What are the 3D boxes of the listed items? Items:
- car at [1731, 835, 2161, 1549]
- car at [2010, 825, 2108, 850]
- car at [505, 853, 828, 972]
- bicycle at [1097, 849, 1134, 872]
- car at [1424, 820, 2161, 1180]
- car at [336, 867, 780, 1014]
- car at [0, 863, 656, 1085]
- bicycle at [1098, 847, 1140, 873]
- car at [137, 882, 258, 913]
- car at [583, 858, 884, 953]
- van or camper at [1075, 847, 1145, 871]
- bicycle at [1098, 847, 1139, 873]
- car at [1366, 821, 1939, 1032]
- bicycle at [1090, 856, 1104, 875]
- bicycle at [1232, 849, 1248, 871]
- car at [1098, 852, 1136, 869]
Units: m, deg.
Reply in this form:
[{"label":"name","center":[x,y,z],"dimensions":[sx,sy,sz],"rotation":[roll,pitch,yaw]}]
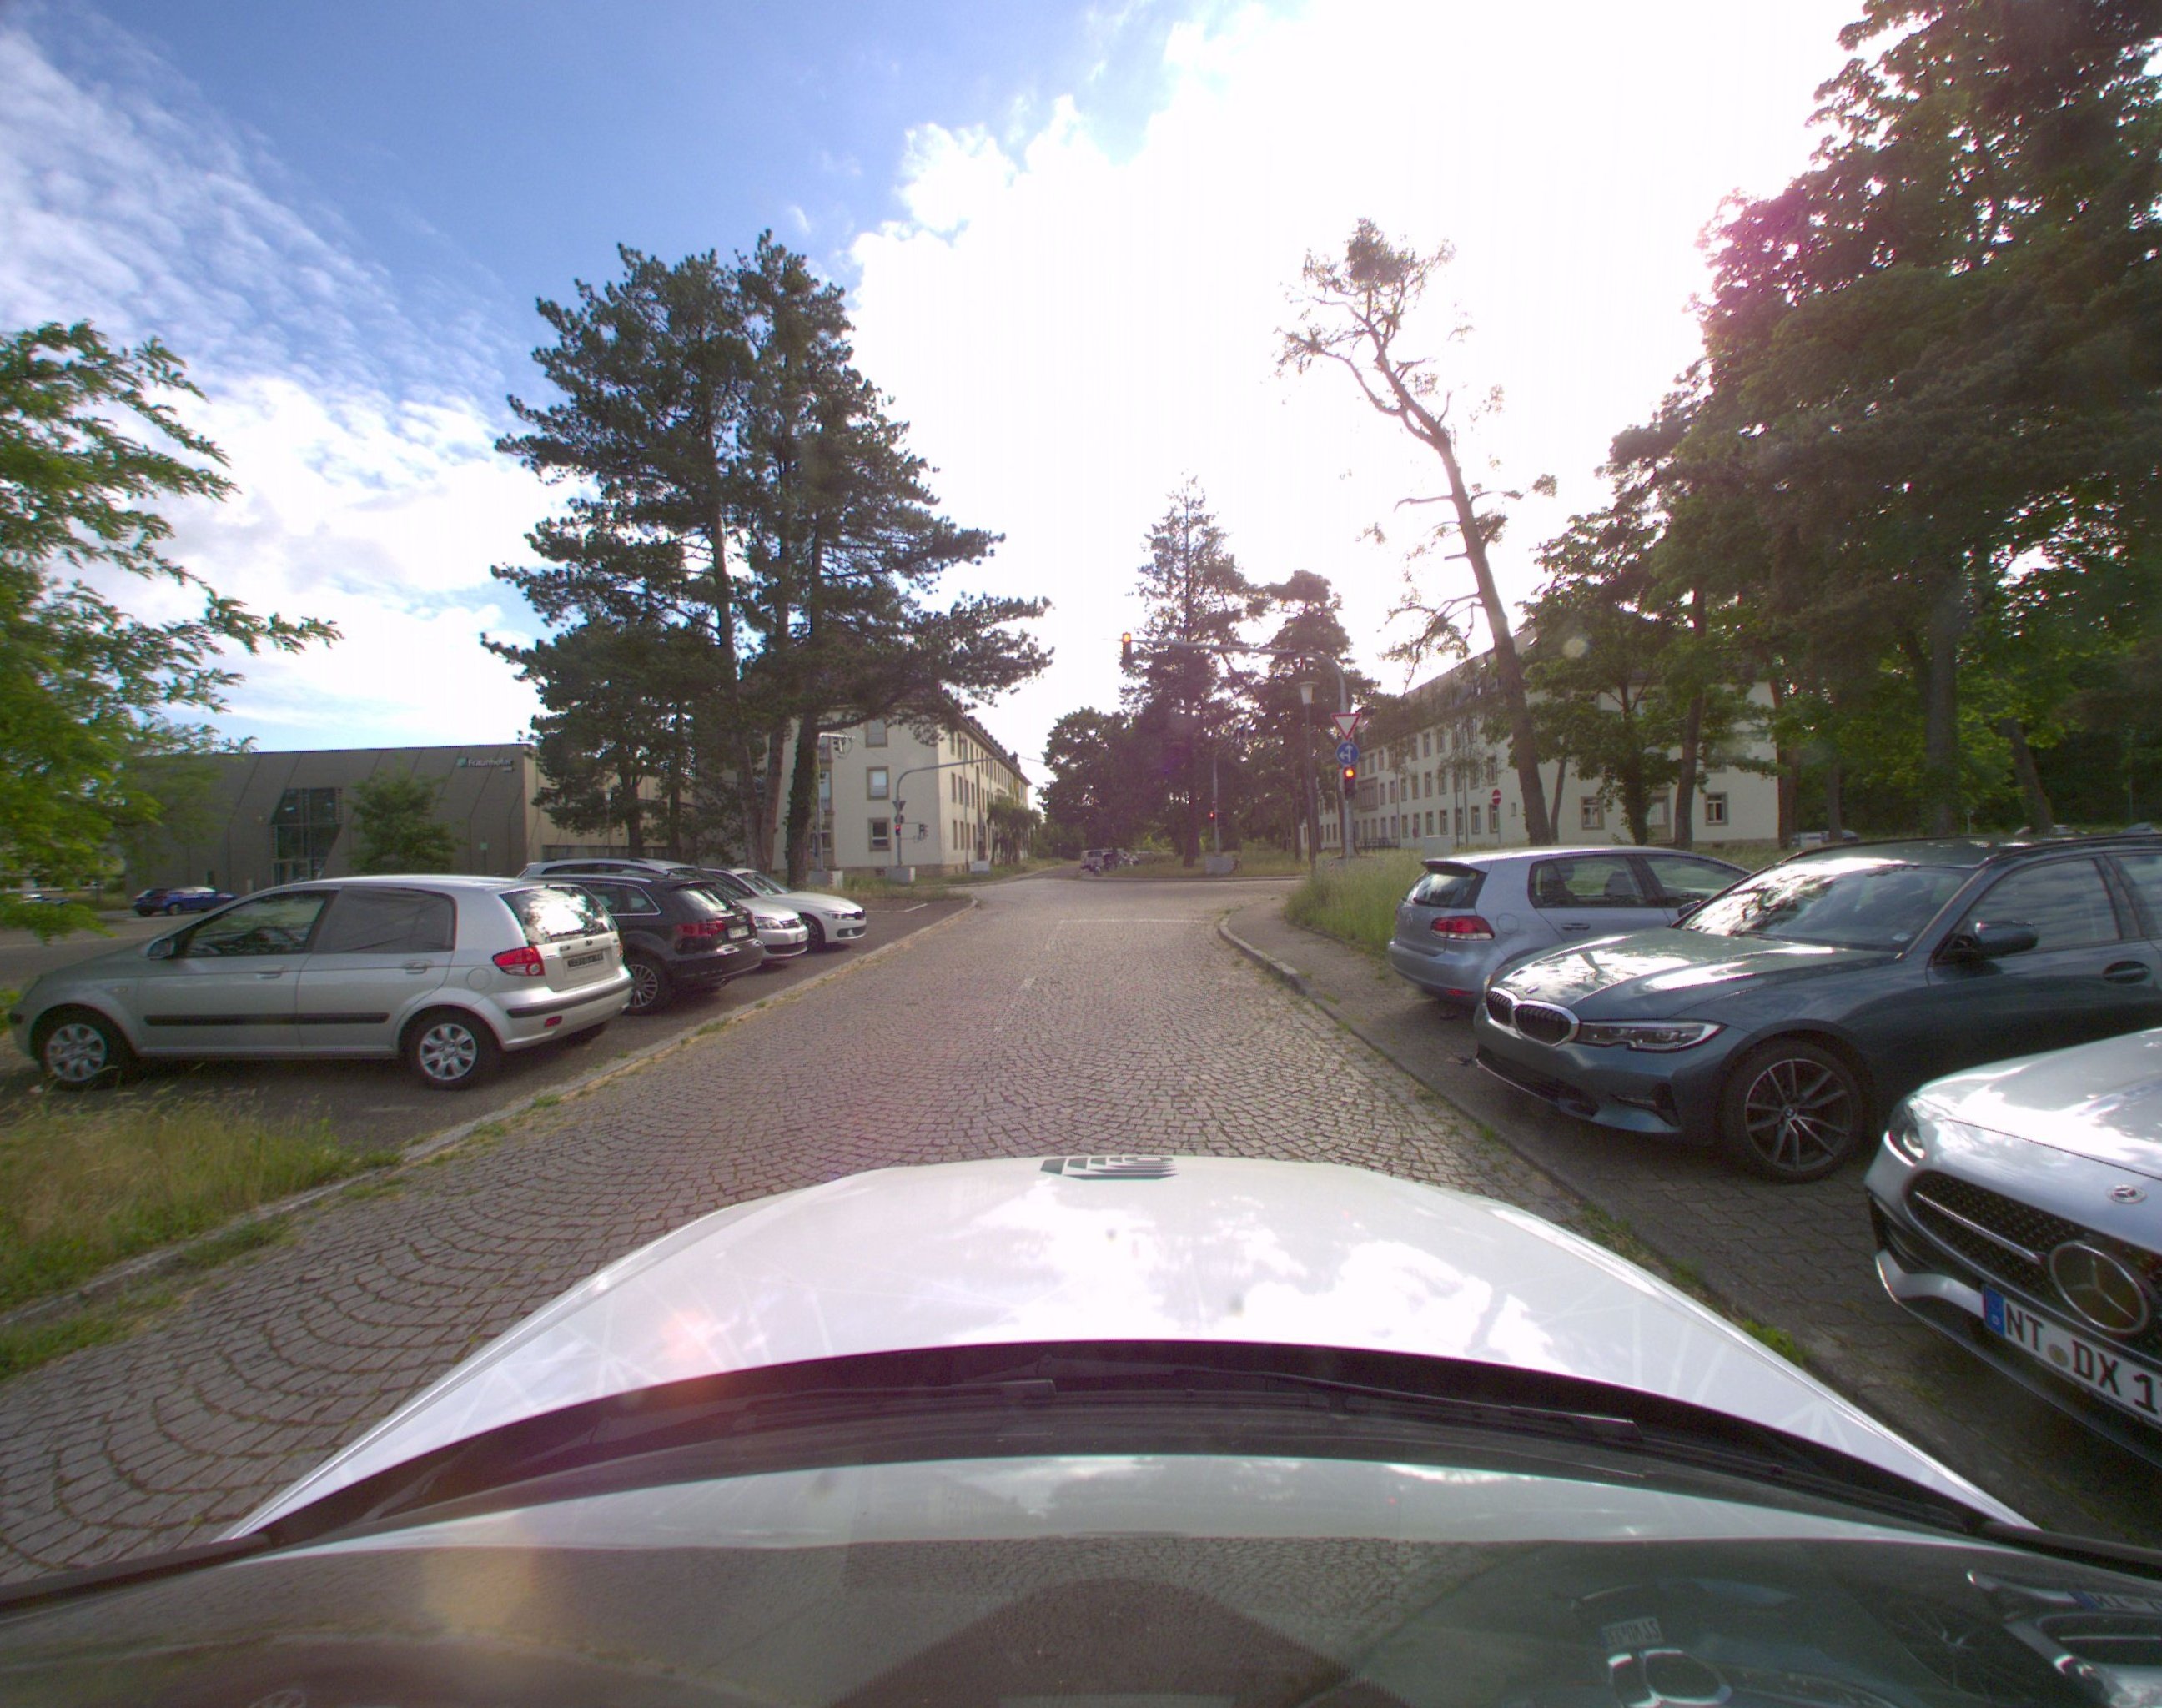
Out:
[{"label":"car","center":[4.350,0.620,1.851],"dimensions":[4.311,1.428,1.767],"rotation":[-3,0,0]},{"label":"car","center":[58.479,-0.973,48.736],"dimensions":[3.972,1.398,1.564],"rotation":[0,0,1]},{"label":"car","center":[-5.924,0.805,11.993],"dimensions":[3.820,1.607,1.734],"rotation":[0,0,-2]},{"label":"bicycle","center":[2.640,0.514,62.352],"dimensions":[2.764,1.694,1.121],"rotation":[0,0,2]},{"label":"car","center":[4.545,0.607,4.532],"dimensions":[4.500,1.483,1.807],"rotation":[-2,0,-2]},{"label":"car","center":[-5.604,0.884,9.086],"dimensions":[3.823,1.408,1.695],"rotation":[1,0,0]},{"label":"car","center":[-5.601,0.842,6.431],"dimensions":[3.566,1.475,1.646],"rotation":[1,0,-2]},{"label":"bicycle","center":[2.633,0.405,56.252],"dimensions":[2.770,1.694,1.118],"rotation":[-2,0,-5]},{"label":"car","center":[-47.178,2.294,43.623],"dimensions":[1.750,1.414,4.137],"rotation":[-2,0,5]},{"label":"car","center":[-5.952,0.859,14.390],"dimensions":[4.466,1.442,1.829],"rotation":[2,0,-3]},{"label":"van or camper","center":[2.594,0.424,74.231],"dimensions":[6.037,1.948,1.992],"rotation":[-2,0,-13]},{"label":"bicycle","center":[2.641,0.432,57.447],"dimensions":[2.772,1.694,1.118],"rotation":[-2,0,-6]},{"label":"car","center":[4.720,0.561,7.139],"dimensions":[3.829,1.471,1.642],"rotation":[-2,0,0]},{"label":"bicycle","center":[1.034,0.747,51.995],"dimensions":[0.723,1.107,2.464],"rotation":[-6,0,3]},{"label":"bicycle","center":[8.633,0.322,44.350],"dimensions":[0.720,1.169,2.743],"rotation":[0,0,8]},{"label":"car","center":[3.125,0.526,70.643],"dimensions":[3.132,1.354,1.617],"rotation":[-2,0,-5]}]
